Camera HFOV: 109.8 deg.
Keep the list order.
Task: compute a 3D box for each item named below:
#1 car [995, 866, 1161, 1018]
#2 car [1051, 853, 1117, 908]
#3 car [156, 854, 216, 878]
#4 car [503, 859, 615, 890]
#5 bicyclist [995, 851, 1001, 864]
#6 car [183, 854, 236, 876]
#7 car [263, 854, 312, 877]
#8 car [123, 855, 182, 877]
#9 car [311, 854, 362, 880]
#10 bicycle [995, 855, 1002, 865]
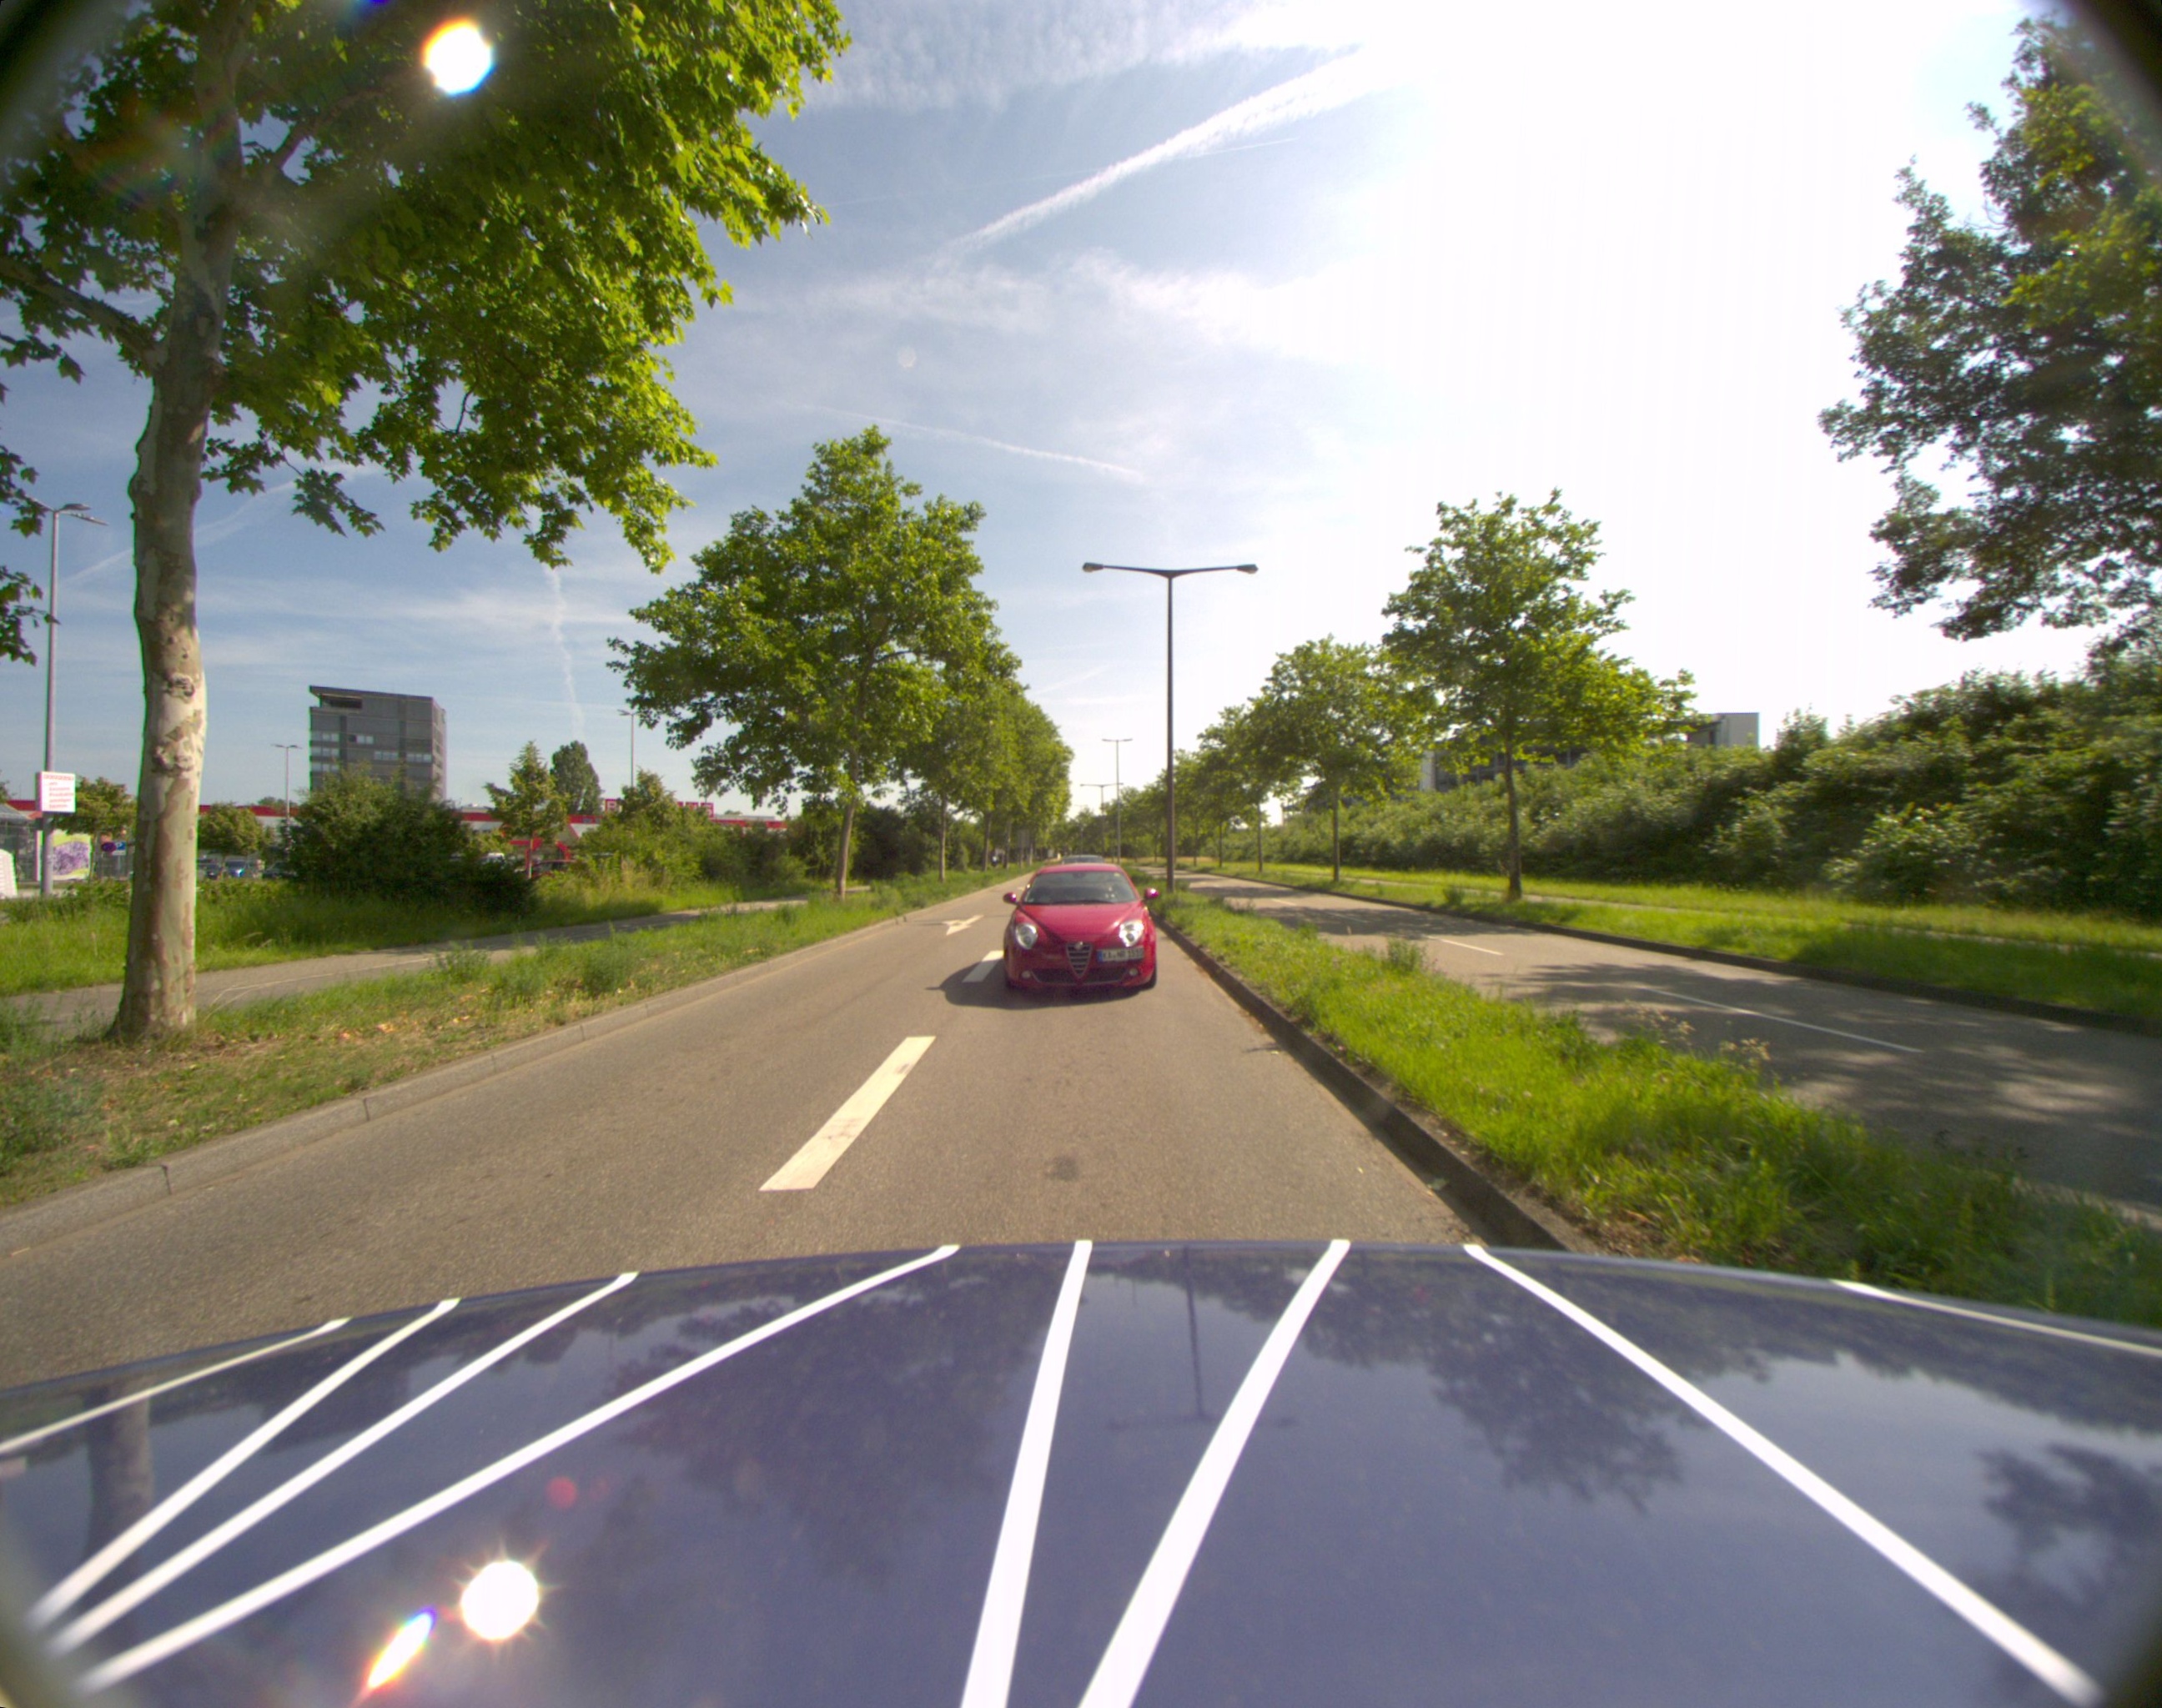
[{"bbox_3d":[-0.001,0.933,9.743,1.658,1.430,3.908,-2,0,1],"label":"car"},{"bbox_3d":[0.104,0.769,23.859,1.874,1.536,4.081,-1,0,1],"label":"car"},{"bbox_3d":[-61.652,0.784,52.392,1.693,1.565,3.989,0,1,-35],"label":"car"},{"bbox_3d":[-22.553,0.862,32.938,3.563,1.292,1.766,0,1,-6],"label":"car"},{"bbox_3d":[-10.930,0.472,100.583,0.687,1.622,1.002,0,1,1],"label":"bicyclist"},{"bbox_3d":[-65.194,0.782,56.903,1.693,1.565,3.989,0,1,-35],"label":"car"},{"bbox_3d":[-57.713,0.818,55.312,1.693,1.565,3.989,0,1,-35],"label":"car"},{"bbox_3d":[-67.538,0.836,55.359,1.693,1.565,3.989,0,1,-35],"label":"car"},{"bbox_3d":[-47.482,0.766,48.519,1.693,1.565,3.989,0,1,-35],"label":"car"},{"bbox_3d":[-10.931,0.817,100.552,0.687,1.230,1.934,0,1,1],"label":"bicycle"}]
